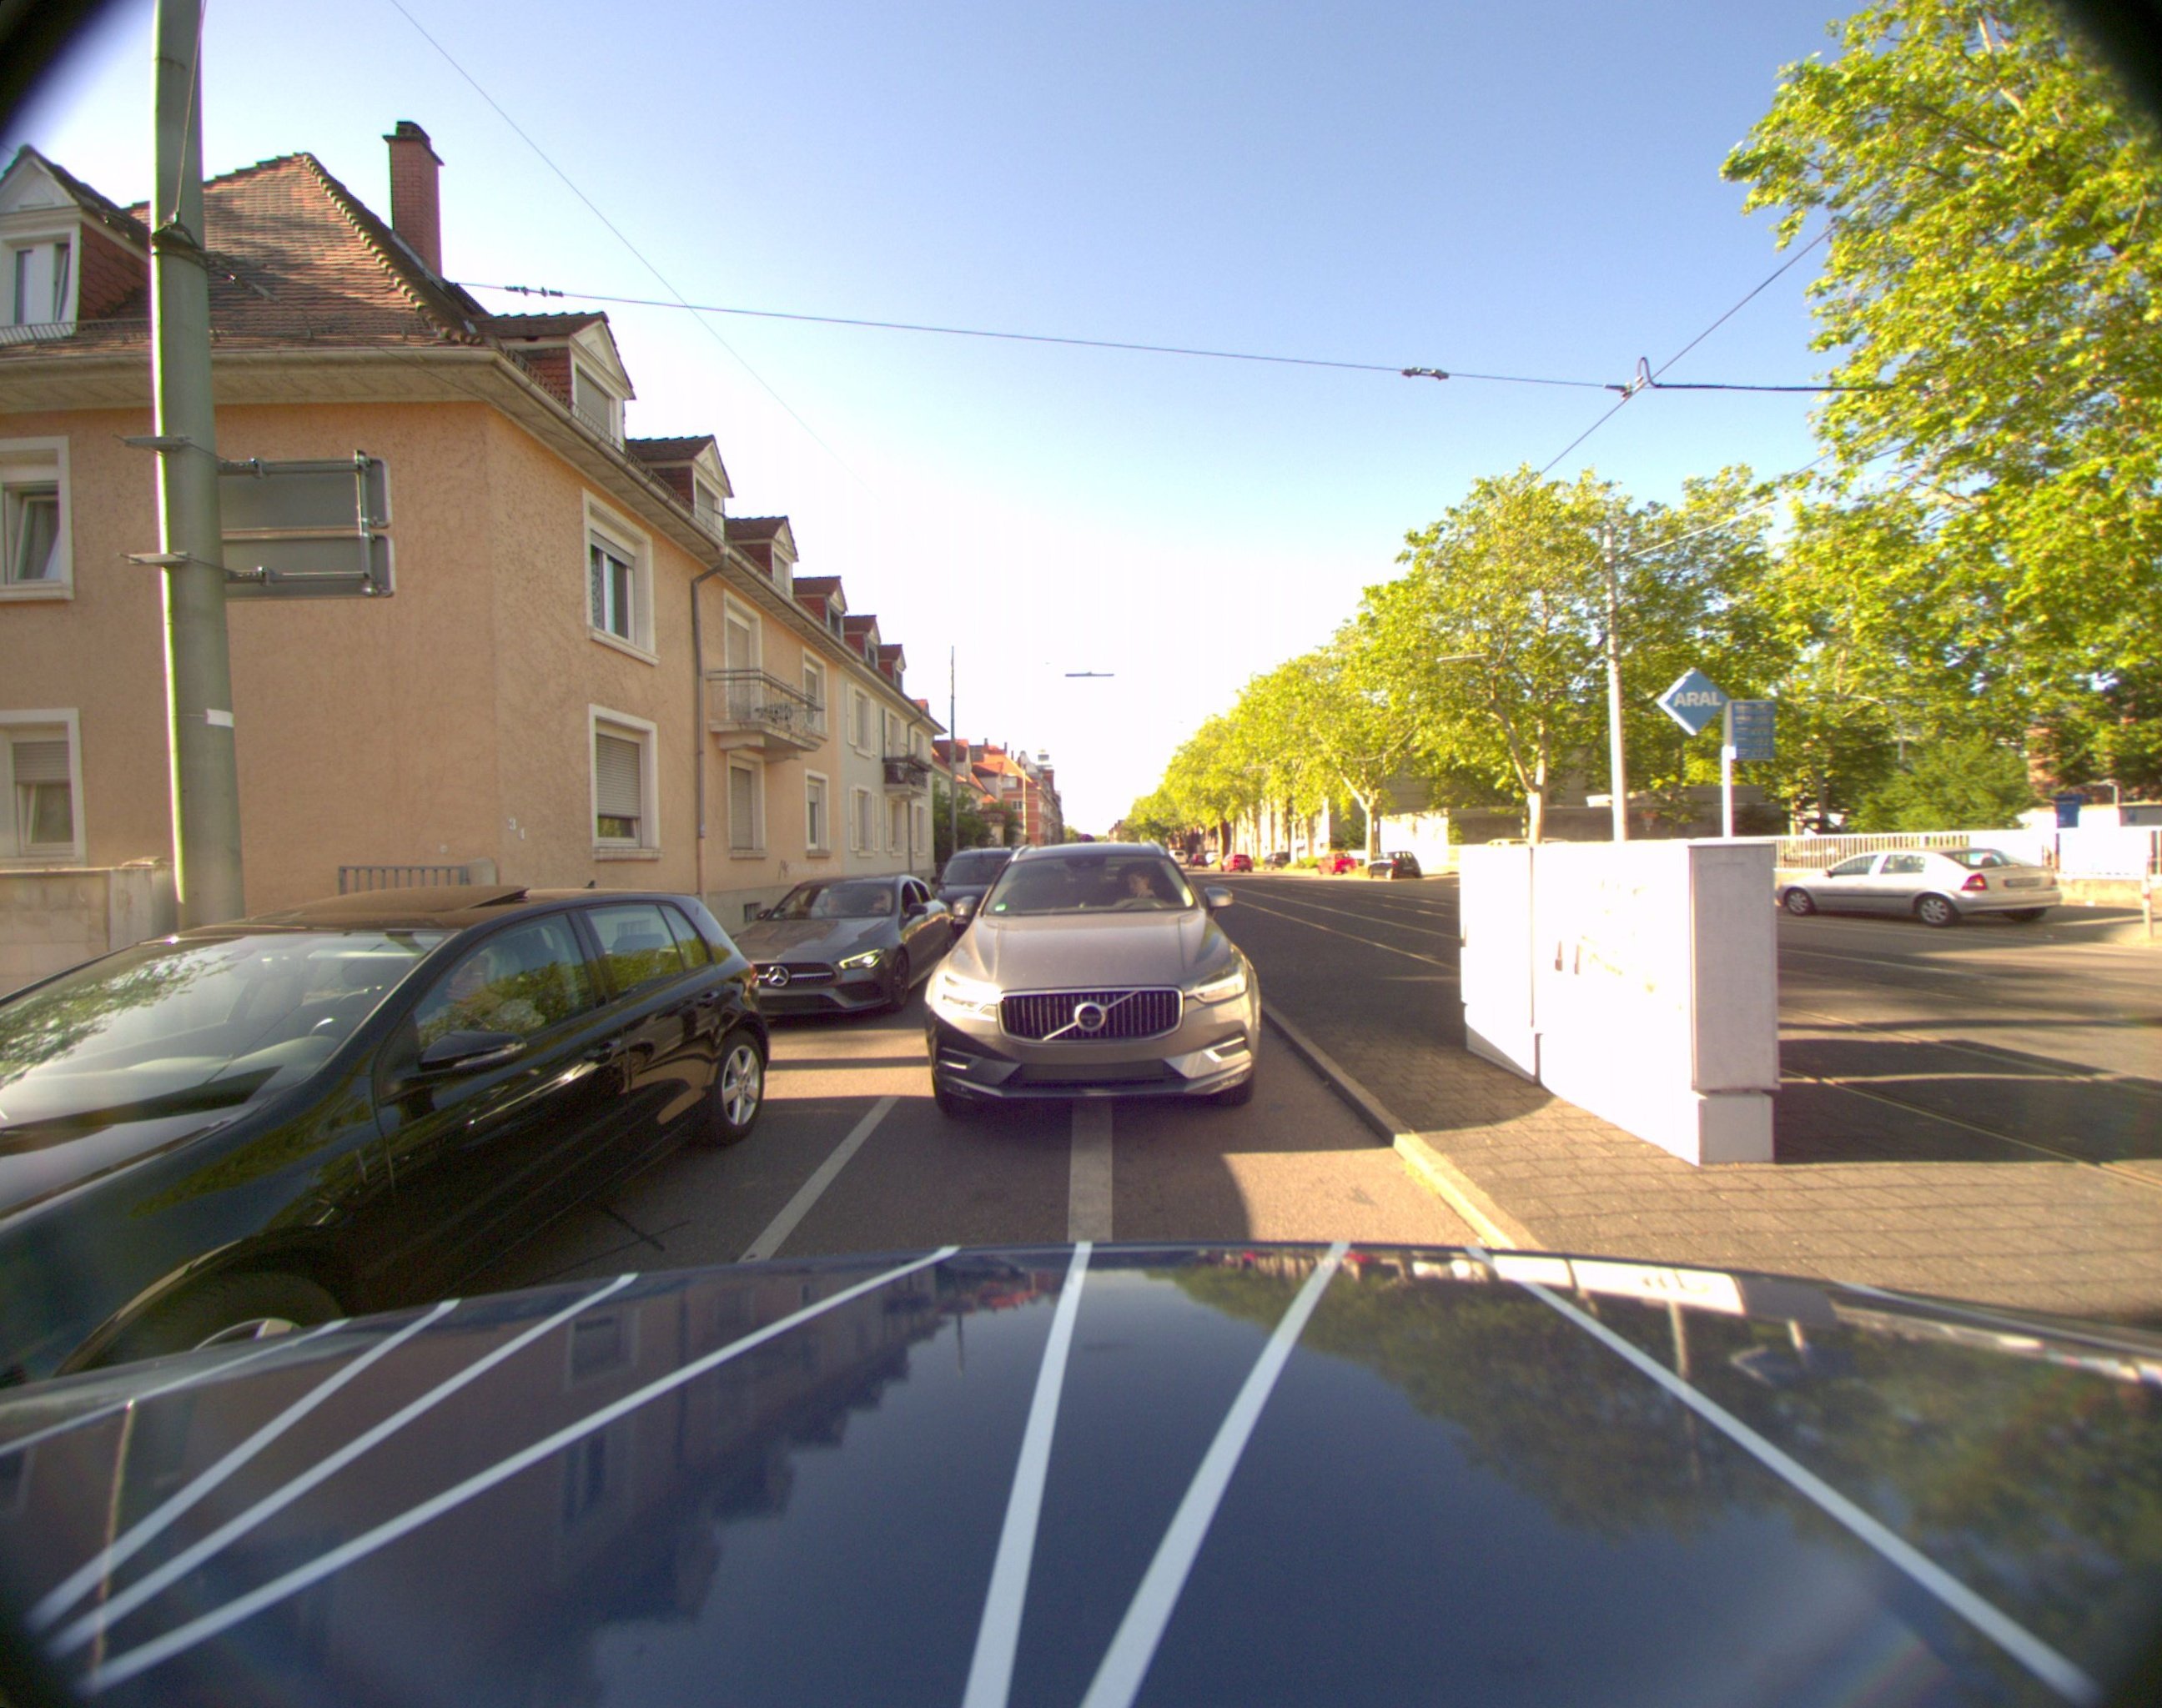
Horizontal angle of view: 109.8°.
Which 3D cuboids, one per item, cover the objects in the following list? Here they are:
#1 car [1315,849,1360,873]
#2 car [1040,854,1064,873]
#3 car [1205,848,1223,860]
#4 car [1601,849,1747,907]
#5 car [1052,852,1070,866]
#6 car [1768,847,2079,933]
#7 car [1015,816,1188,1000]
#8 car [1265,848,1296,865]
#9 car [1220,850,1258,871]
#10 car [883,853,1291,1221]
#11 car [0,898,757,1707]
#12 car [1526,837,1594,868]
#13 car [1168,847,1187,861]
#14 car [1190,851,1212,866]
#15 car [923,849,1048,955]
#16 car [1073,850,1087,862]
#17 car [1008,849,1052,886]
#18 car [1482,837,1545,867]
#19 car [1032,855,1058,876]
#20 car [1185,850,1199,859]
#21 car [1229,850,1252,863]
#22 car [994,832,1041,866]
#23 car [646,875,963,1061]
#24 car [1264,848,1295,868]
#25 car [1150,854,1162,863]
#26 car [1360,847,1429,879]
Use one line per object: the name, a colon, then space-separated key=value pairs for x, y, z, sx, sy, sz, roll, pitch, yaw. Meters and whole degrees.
car: x=16.991 y=0.411 z=50.497 sx=1.700 sy=1.460 sz=3.999 roll=-1 pitch=2 yaw=1
car: x=-2.532 y=0.805 z=66.998 sx=1.841 sy=1.449 sz=3.999 roll=-2 pitch=1 yaw=1
car: x=17.663 y=0.011 z=100.783 sx=1.700 sy=1.548 sz=3.999 roll=-1 pitch=1 yaw=1
car: x=16.408 y=0.606 z=21.225 sx=1.546 sy=1.412 sz=3.254 roll=-2 pitch=1 yaw=1
car: x=-2.183 y=0.586 z=85.436 sx=1.841 sy=1.449 sz=3.999 roll=-2 pitch=1 yaw=1
car: x=16.203 y=0.598 z=14.983 sx=1.731 sy=1.412 sz=3.999 roll=-2 pitch=1 yaw=1
car: x=0.237 y=0.597 z=11.122 sx=1.912 sy=2.048 sz=4.763 roll=-2 pitch=1 yaw=0
car: x=17.285 y=0.229 z=65.913 sx=1.700 sy=1.401 sz=3.999 roll=-1 pitch=1 yaw=1
car: x=12.073 y=0.478 z=58.478 sx=1.912 sy=1.514 sz=4.763 roll=0 pitch=1 yaw=0
car: x=0.039 y=0.887 z=6.056 sx=1.912 sy=1.666 sz=4.763 roll=-2 pitch=1 yaw=0
car: x=-2.889 y=1.007 z=2.607 sx=1.733 sy=1.499 sz=4.051 roll=-2 pitch=-1 yaw=1
car: x=23.695 y=-0.101 z=37.713 sx=1.545 sy=1.412 sz=3.151 roll=-2 pitch=1 yaw=4
car: x=12.870 y=-0.024 z=101.476 sx=1.850 sy=1.835 sz=4.394 roll=-1 pitch=1 yaw=-1
car: x=12.735 y=0.427 z=80.851 sx=1.700 sy=1.412 sz=3.999 roll=3 pitch=1 yaw=1
car: x=-1.796 y=0.835 z=15.813 sx=1.866 sy=1.794 sz=4.778 roll=-2 pitch=1 yaw=1
car: x=-0.159 y=0.274 z=106.488 sx=1.841 sy=1.449 sz=3.999 roll=-2 pitch=1 yaw=1
car: x=-2.931 y=0.722 z=45.023 sx=1.937 sy=1.888 sz=7.210 roll=-2 pitch=1 yaw=1
car: x=21.714 y=-0.111 z=38.274 sx=1.545 sy=1.412 sz=3.151 roll=-2 pitch=1 yaw=4
car: x=-2.828 y=0.888 z=60.589 sx=1.841 sy=1.449 sz=3.999 roll=-2 pitch=1 yaw=1
car: x=18.332 y=0.027 z=125.560 sx=1.700 sy=1.401 sz=3.999 roll=-1 pitch=1 yaw=1
car: x=17.516 y=0.252 z=83.521 sx=1.700 sy=1.401 sz=3.999 roll=-1 pitch=1 yaw=1
car: x=-3.013 y=-0.253 z=36.884 sx=1.841 sy=1.449 sz=3.999 roll=-2 pitch=1 yaw=1
car: x=-2.788 y=1.070 z=8.941 sx=1.911 sy=1.411 sz=4.492 roll=-2 pitch=1 yaw=2
car: x=17.167 y=0.322 z=65.994 sx=1.700 sy=1.566 sz=3.999 roll=-1 pitch=1 yaw=1
car: x=13.760 y=0.778 z=138.799 sx=1.764 sy=1.487 sz=3.999 roll=-2 pitch=1 yaw=1
car: x=16.902 y=0.436 z=41.256 sx=1.753 sy=1.514 sz=4.434 roll=-5 pitch=1 yaw=-1
